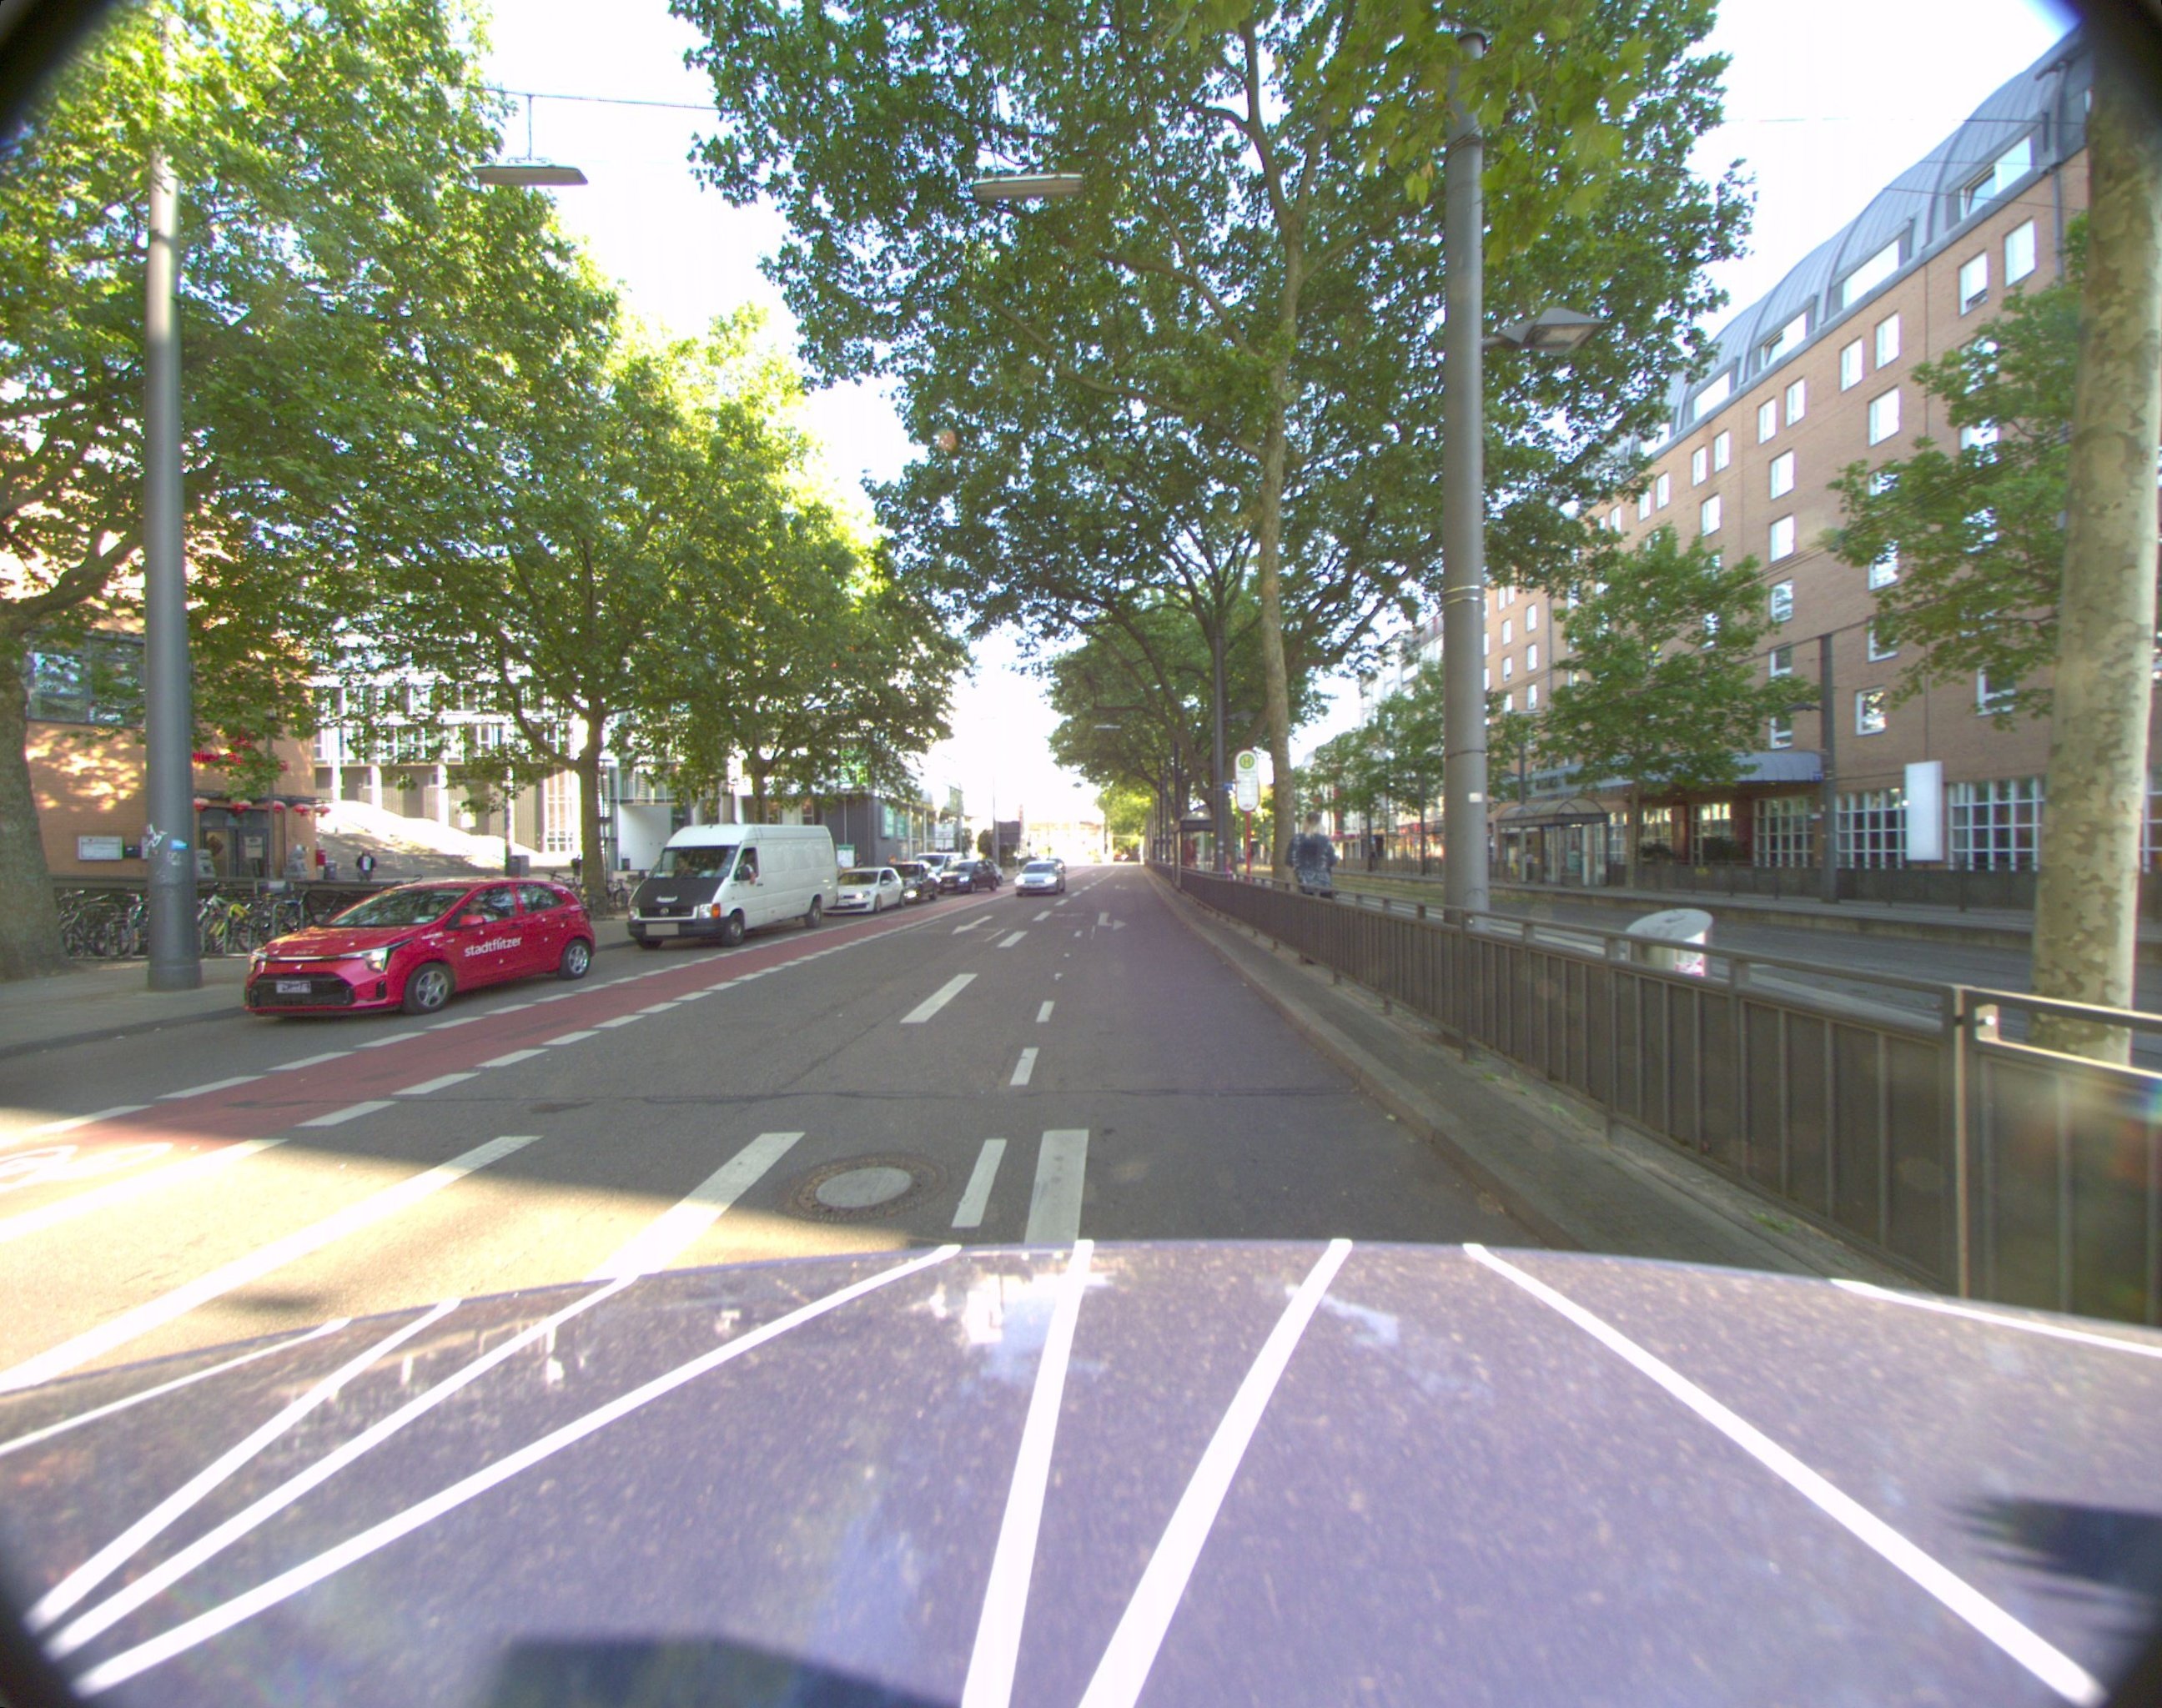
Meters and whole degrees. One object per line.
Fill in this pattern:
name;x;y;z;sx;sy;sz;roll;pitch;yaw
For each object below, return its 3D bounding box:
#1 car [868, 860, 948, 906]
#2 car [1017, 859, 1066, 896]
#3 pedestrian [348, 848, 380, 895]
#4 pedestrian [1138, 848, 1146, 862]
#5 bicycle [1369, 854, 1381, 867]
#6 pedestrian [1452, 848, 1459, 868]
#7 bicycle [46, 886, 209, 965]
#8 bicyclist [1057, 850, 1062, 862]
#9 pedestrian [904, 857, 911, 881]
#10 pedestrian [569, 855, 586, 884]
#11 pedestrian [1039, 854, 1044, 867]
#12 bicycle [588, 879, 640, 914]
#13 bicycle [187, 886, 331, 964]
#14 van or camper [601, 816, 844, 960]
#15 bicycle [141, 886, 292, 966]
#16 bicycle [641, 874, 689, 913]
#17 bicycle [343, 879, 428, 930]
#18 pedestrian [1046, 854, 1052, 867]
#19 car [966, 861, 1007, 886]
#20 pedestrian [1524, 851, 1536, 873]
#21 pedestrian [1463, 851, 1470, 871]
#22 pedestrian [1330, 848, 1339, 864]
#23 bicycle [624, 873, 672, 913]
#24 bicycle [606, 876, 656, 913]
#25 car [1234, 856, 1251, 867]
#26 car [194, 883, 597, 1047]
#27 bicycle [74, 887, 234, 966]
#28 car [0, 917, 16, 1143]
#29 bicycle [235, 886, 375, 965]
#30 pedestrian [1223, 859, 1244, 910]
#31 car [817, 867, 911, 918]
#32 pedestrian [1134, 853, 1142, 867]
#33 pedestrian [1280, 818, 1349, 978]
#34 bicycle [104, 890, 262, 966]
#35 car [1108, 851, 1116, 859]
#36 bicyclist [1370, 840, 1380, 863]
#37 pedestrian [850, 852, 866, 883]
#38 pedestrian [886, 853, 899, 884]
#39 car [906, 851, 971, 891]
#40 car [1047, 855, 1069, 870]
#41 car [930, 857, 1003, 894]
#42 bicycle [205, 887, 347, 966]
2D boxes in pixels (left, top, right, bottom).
car;-6.686;1.081;29.819;1.818;1.610;4.229;-1;0;5
car;-1.656;0.989;33.279;1.733;1.432;4.000;-2;0;2
pedestrian;-31.431;0.767;33.303;0.878;2.025;0.585;-1;1;-30
pedestrian;8.991;0.190;112.118;0.831;2.002;0.772;-1;1;-23
bicycle;24.034;0.541;62.052;0.451;0.998;1.753;-1;0;6
pedestrian;28.246;0.325;57.370;0.438;1.497;0.659;0;1;23
bicycle;-16.386;1.196;13.136;0.435;1.187;1.850;0;0;1
bicyclist;-3.117;0.302;107.968;0.673;1.707;0.715;-1;1;1
pedestrian;-10.304;0.888;45.110;0.301;1.367;0.502;-1;1;4
pedestrian;-27.440;0.832;41.432;0.719;1.549;0.639;-1;1;-35
pedestrian;-5.019;0.833;96.615;0.611;1.644;0.583;-1;1;1
bicycle;-15.218;1.363;24.792;0.516;1.027;1.850;0;0;1
bicycle;-14.325;1.198;13.323;0.484;1.187;1.850;0;0;1
van or camper;-7.541;0.621;17.078;1.998;2.563;6.575;-2;0;3
bicycle;-14.841;1.197;13.123;0.447;1.187;1.850;0;0;1
bicycle;-13.570;1.266;24.839;0.522;1.187;1.850;0;0;1
bicycle;-17.882;1.285;19.590;0.517;1.187;1.790;0;0;1
pedestrian;-4.051;0.803;95.996;0.648;1.644;0.643;-1;1;1
car;-5.750;1.170;46.806;1.801;1.369;4.001;0;0;3
pedestrian;30.341;0.544;51.368;0.519;1.427;0.516;-1;1;4
pedestrian;28.931;0.529;57.039;0.438;1.511;0.659;0;1;23
pedestrian;31.655;0.279;94.959;0.806;2.002;0.763;-1;1;1
bicycle;-14.114;1.254;24.818;0.495;1.187;1.850;0;0;1
bicycle;-14.658;1.304;24.816;0.522;1.088;1.797;0;0;1
car;27.117;1.241;127.651;1.998;1.849;4.000;-1;0;1
car;-7.950;1.175;9.353;1.606;1.449;3.651;-1;0;0
bicycle;-15.923;1.201;13.133;0.458;1.187;1.850;0;0;1
car;-7.976;1.171;2.919;1.743;1.476;4.251;-1;0;0
bicycle;-13.316;1.192;13.126;0.482;1.187;1.850;0;0;1
pedestrian;3.933;0.774;19.621;0.500;1.308;0.419;0;1;8
car;-6.991;1.183;24.869;1.682;1.420;4.001;-1;0;3
pedestrian;8.293;0.872;110.453;0.859;2.002;0.801;-3;1;-20
pedestrian;2.832;0.511;9.246;0.606;1.873;0.622;-2;3;-3
bicycle;-15.424;1.234;13.131;0.485;1.118;1.850;0;0;1
car;8.236;0.333;203.839;1.998;2.002;4.001;-1;0;4
bicyclist;23.970;-0.198;61.906;0.572;1.893;0.813;0;1;6
pedestrian;-12.536;0.763;42.755;0.715;1.758;0.526;-1;1;2
pedestrian;-10.925;0.836;44.083;0.627;1.758;0.451;-1;1;2
car;-7.477;0.859;40.487;1.965;1.983;4.960;-1;0;7
car;-2.292;0.871;76.543;1.801;1.438;4.001;0;0;3
car;-5.501;1.012;37.088;1.964;1.610;4.335;-1;0;14
bicycle;-13.819;1.202;13.132;0.448;1.187;1.850;0;0;1
